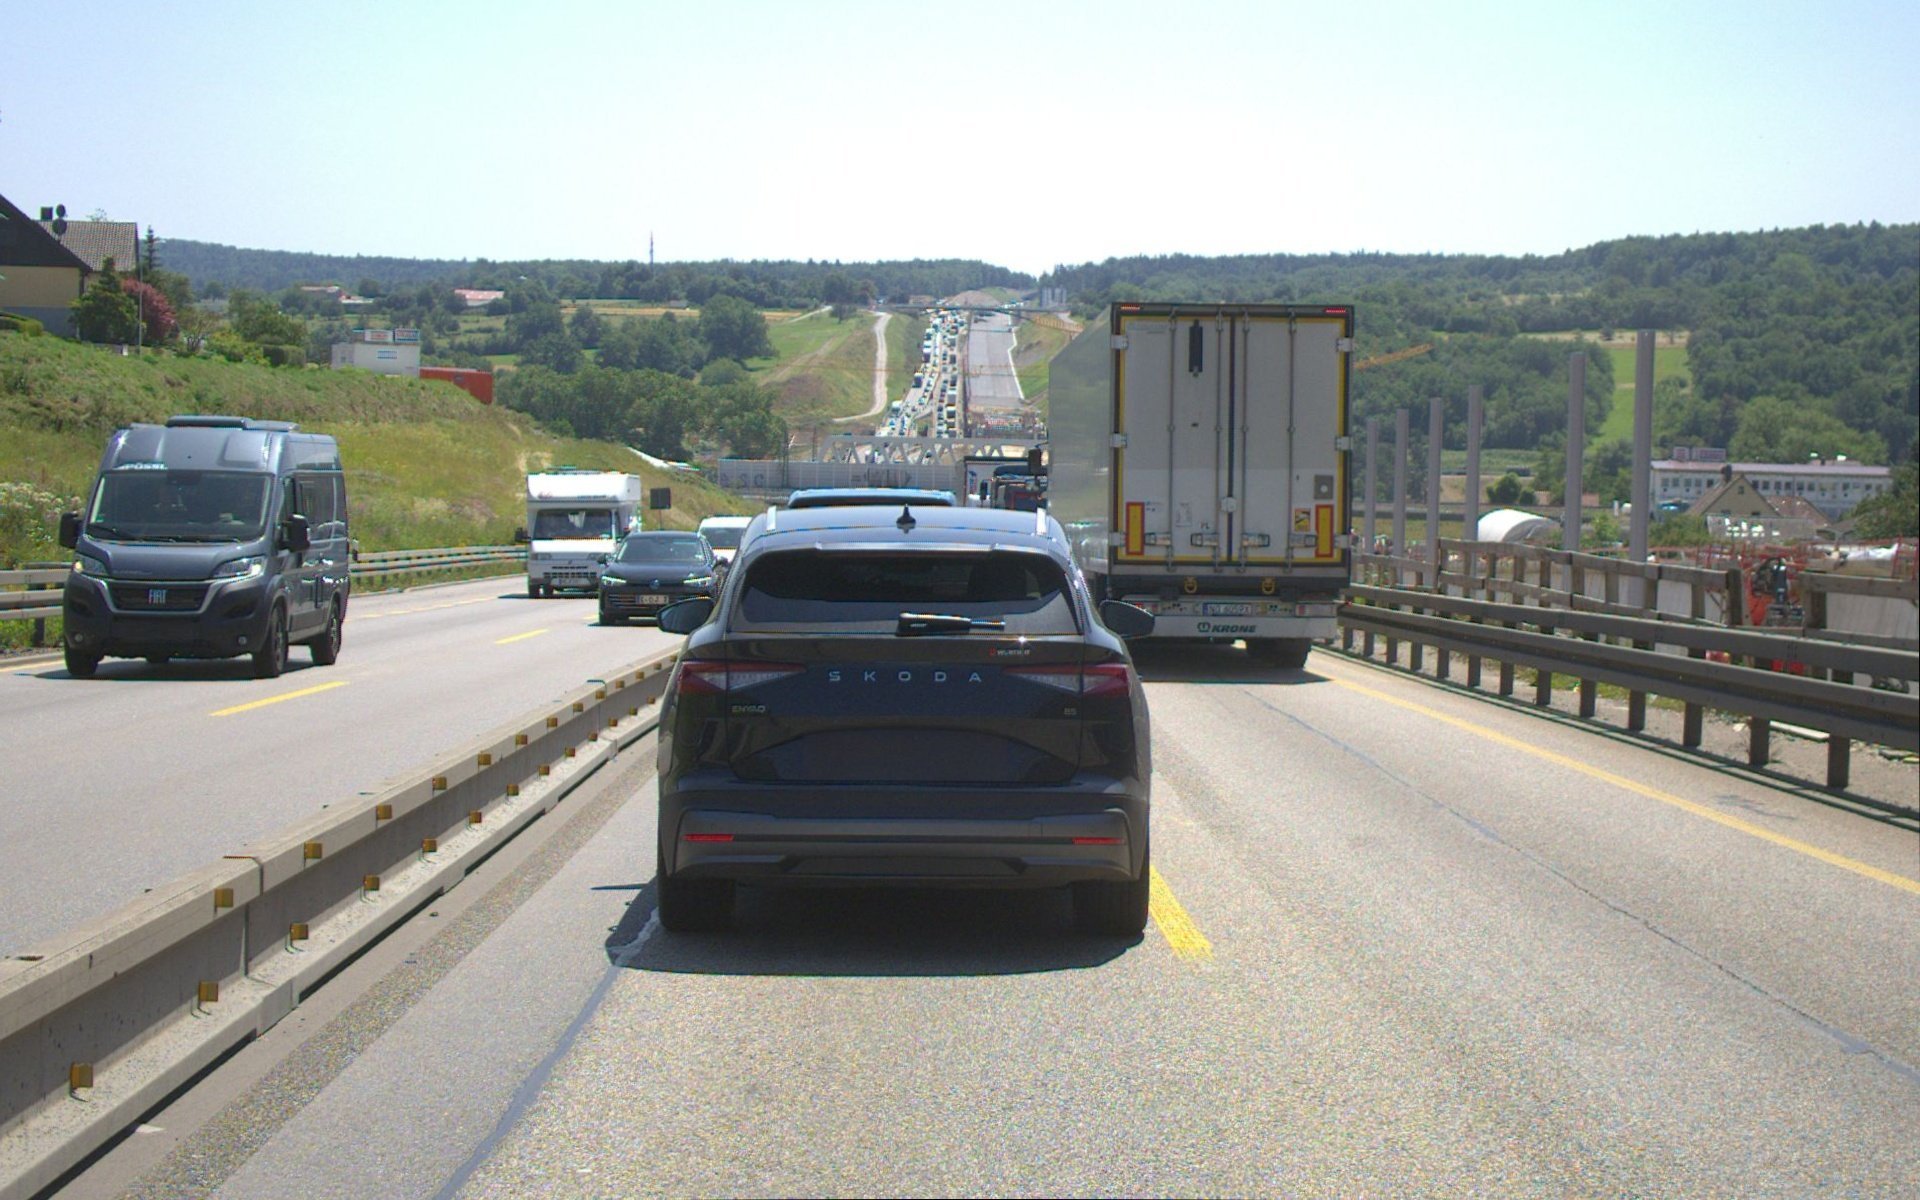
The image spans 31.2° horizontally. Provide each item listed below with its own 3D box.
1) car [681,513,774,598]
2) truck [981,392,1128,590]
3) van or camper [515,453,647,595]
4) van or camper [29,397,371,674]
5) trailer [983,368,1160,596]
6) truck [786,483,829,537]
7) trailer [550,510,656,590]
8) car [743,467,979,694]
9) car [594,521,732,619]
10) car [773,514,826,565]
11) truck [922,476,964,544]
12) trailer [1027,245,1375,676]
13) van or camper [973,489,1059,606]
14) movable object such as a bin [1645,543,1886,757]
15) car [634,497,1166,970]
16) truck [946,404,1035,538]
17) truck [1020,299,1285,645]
[{"bbox_3d":[-5.153,-1.017,76.768,1.837,1.821,5.041,1,1,-1],"label":"car"},{"bbox_3d":[2.197,-2.521,83.024,3.180,4.498,8.166,1,0,-1],"label":"truck"},{"bbox_3d":[-8.558,-1.713,78.204,2.291,3.056,6.924,1,1,-1],"label":"van or camper"},{"bbox_3d":[-7.703,-0.672,35.597,2.140,2.564,6.565,1,1,-1],"label":"van or camper"},{"bbox_3d":[2.265,-2.349,75.850,3.180,4.498,14.967,1,0,-1],"label":"trailer"},{"bbox_3d":[-10.656,-6.288,240.576,2.779,3.660,6.278,1,1,-1],"label":"truck"},{"bbox_3d":[-8.706,-1.236,84.123,2.101,1.887,5.141,1,1,-1],"label":"trailer"},{"bbox_3d":[-0.887,-0.168,31.648,1.993,1.919,4.508,1,0,-1],"label":"car"},{"bbox_3d":[-4.703,-0.507,54.946,1.842,1.470,4.835,1,1,-1],"label":"car"},{"bbox_3d":[-4.799,-1.818,103.285,1.483,1.500,2.805,1,1,-1],"label":"car"},{"bbox_3d":[-1.137,-5.783,222.944,2.640,4.179,9.284,1,0,-1],"label":"truck"},{"bbox_3d":[2.668,-1.646,42.777,3.180,4.497,13.110,1,2,-1],"label":"trailer"},{"bbox_3d":[1.657,-1.486,99.959,2.389,3.269,6.468,0,0,1],"label":"van or camper"},{"bbox_3d":[18.841,1.102,81.141,3.227,4.726,9.656,1,0,-1],"label":"movable object such as a bin"},{"bbox_3d":[-0.208,0.435,13.769,1.802,1.602,4.000,1,1,0],"label":"car"},{"bbox_3d":[1.027,-4.595,125.674,2.852,4.450,11.918,1,0,-1],"label":"truck"},{"bbox_3d":[2.599,-1.789,49.263,3.180,4.497,8.166,1,2,-1],"label":"truck"}]
